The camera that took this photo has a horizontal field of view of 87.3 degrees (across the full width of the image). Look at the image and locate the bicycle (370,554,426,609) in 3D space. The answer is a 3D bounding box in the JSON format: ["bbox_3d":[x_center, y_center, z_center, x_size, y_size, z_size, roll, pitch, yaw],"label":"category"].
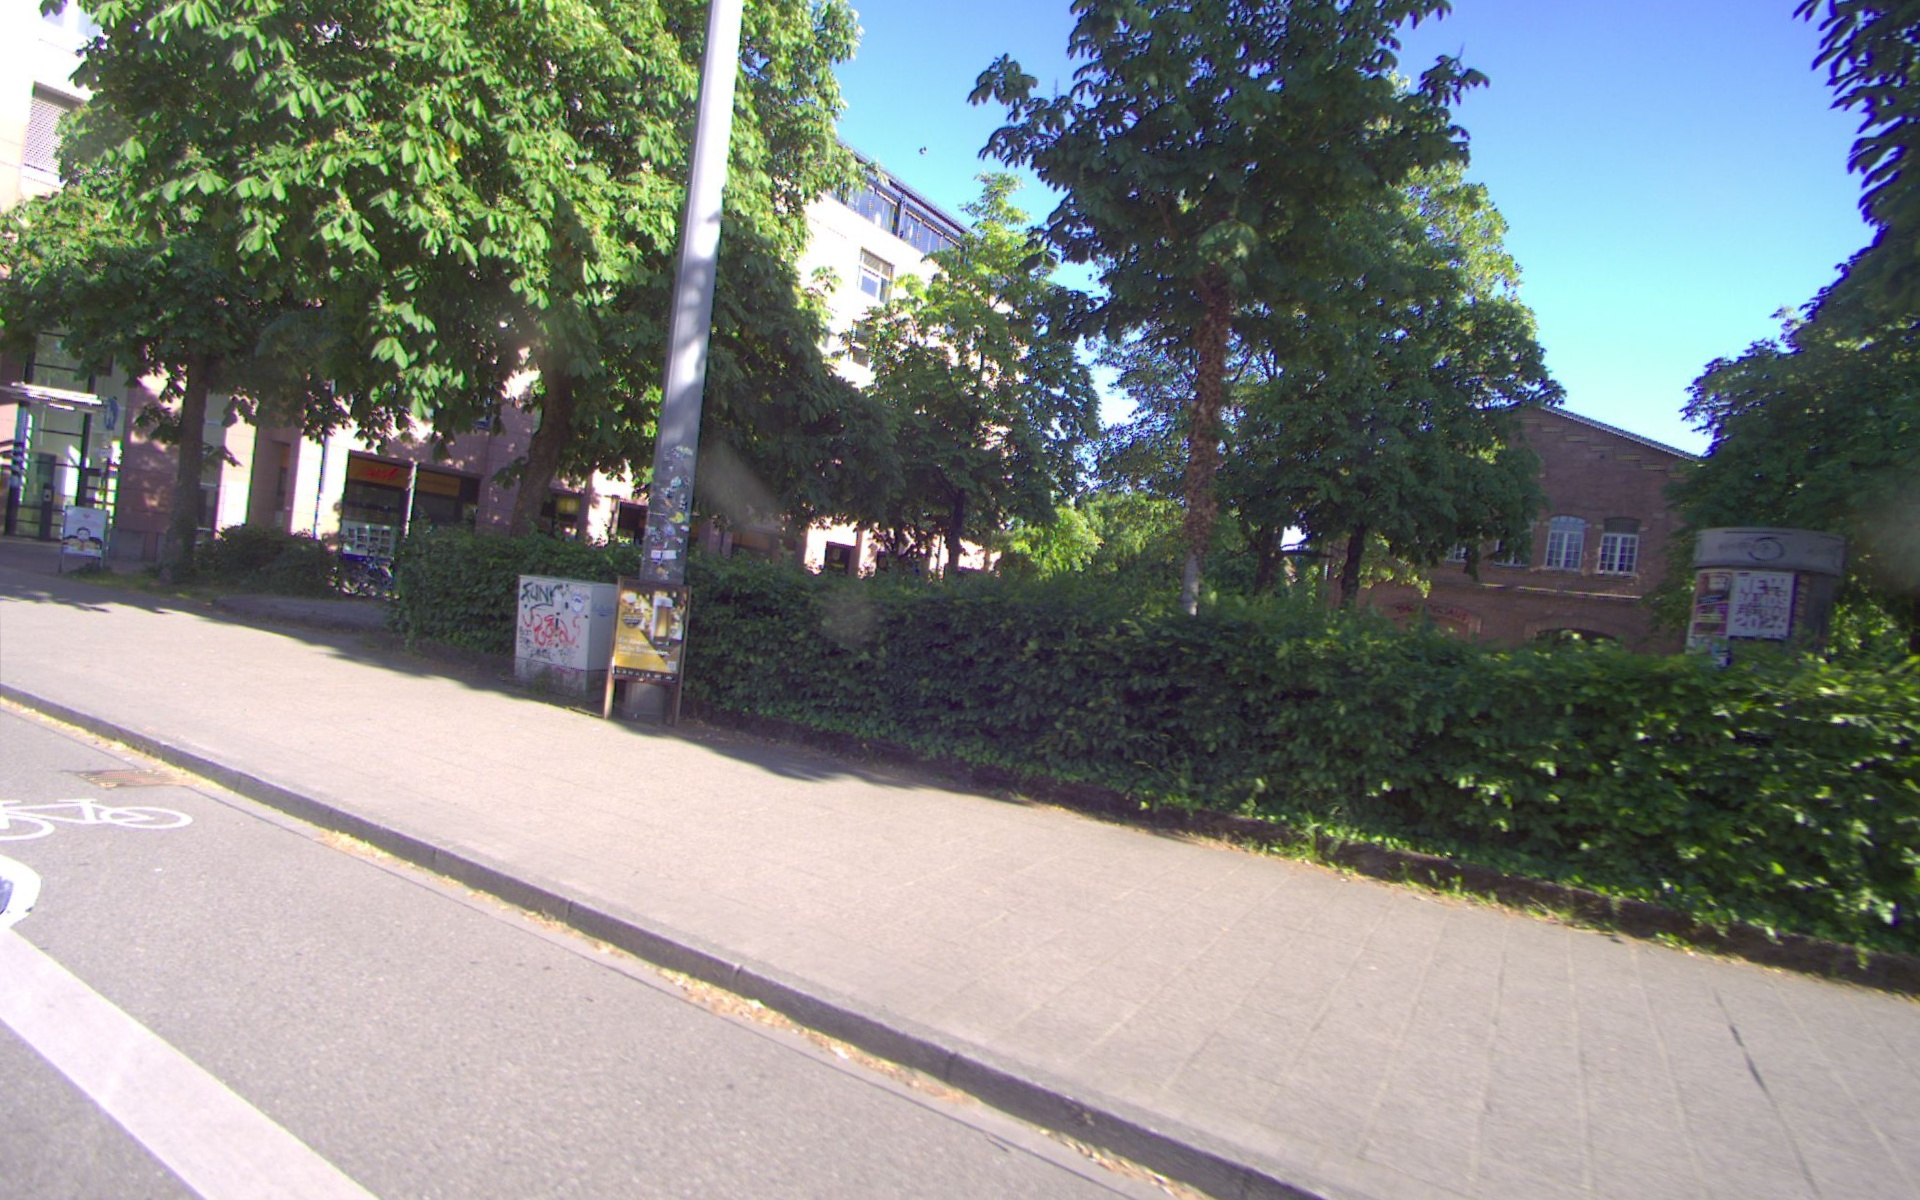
[{"bbox_3d":[-11.731,-0.406,20.958,0.417,1.009,2.195,6,-1,-43],"label":"bicycle"}]
